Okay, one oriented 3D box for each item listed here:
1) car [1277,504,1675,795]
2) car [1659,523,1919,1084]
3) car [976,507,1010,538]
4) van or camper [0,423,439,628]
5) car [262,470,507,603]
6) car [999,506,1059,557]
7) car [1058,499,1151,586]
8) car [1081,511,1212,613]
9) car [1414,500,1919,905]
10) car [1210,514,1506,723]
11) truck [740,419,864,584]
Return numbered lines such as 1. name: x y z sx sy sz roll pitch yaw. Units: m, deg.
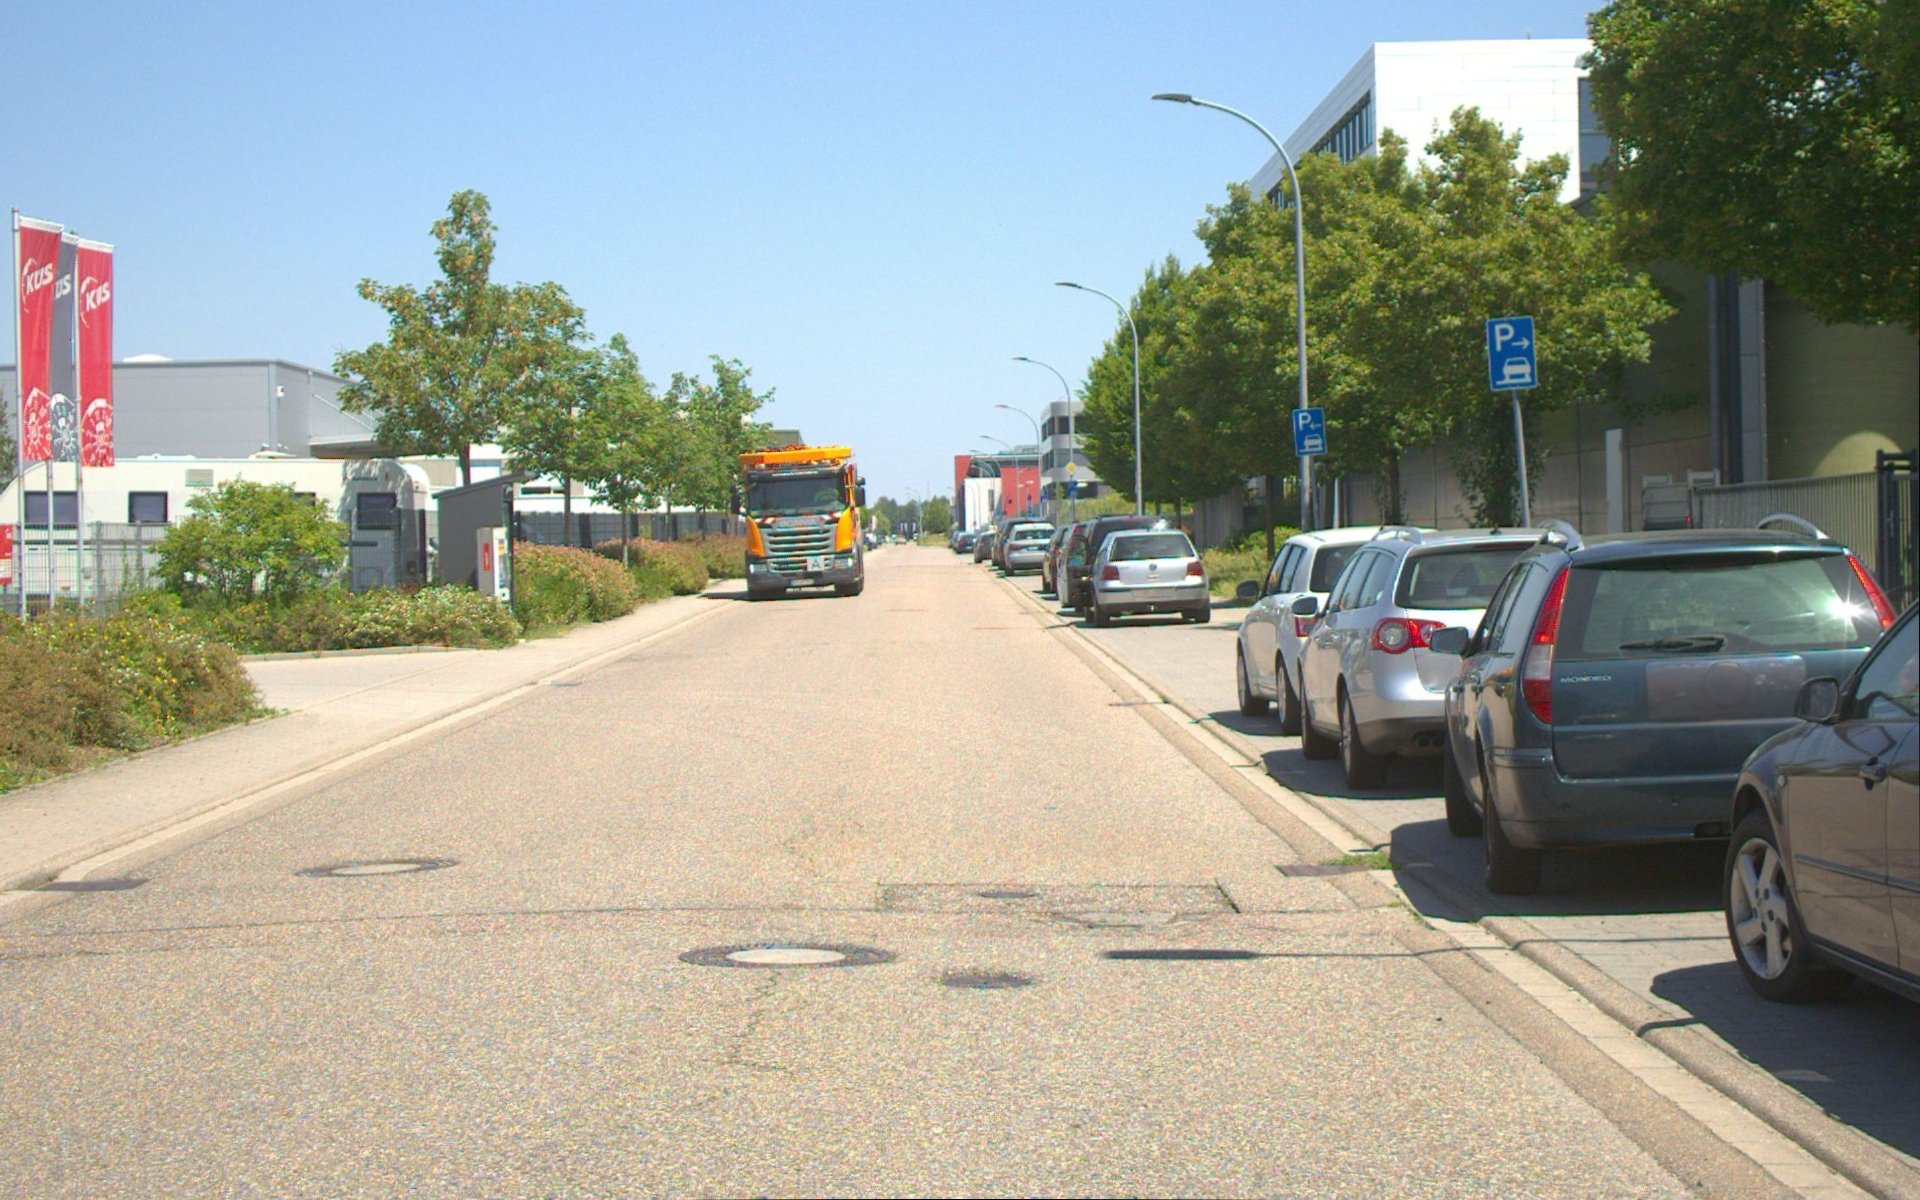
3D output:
1. car: 3.050 0.230 21.177 1.748 1.556 4.506 -2 1 0
2. car: 3.347 0.489 9.421 1.850 1.426 4.713 -1 1 0
3. car: 1.570 -3.678 163.539 1.495 1.405 3.500 -1 1 -1
4. van or camper: -12.113 -1.160 54.073 7.384 3.027 2.790 -1 1 -1
5. car: -11.740 -1.308 70.388 4.714 2.577 2.000 -1 1 -4
6. car: 1.985 -1.978 99.169 1.585 1.405 3.500 -1 1 -1
7. car: 2.917 -1.176 70.013 1.722 1.688 3.984 -1 1 0
8. car: 2.795 -0.588 52.212 1.718 1.445 3.646 -2 1 -1
9. car: 3.032 0.361 15.356 1.709 1.499 4.705 -1 1 4
10. car: 3.024 0.090 26.807 1.636 1.464 3.746 -2 1 -3
11. truck: -3.562 -2.267 79.379 2.448 3.501 8.273 -2 2 -1
